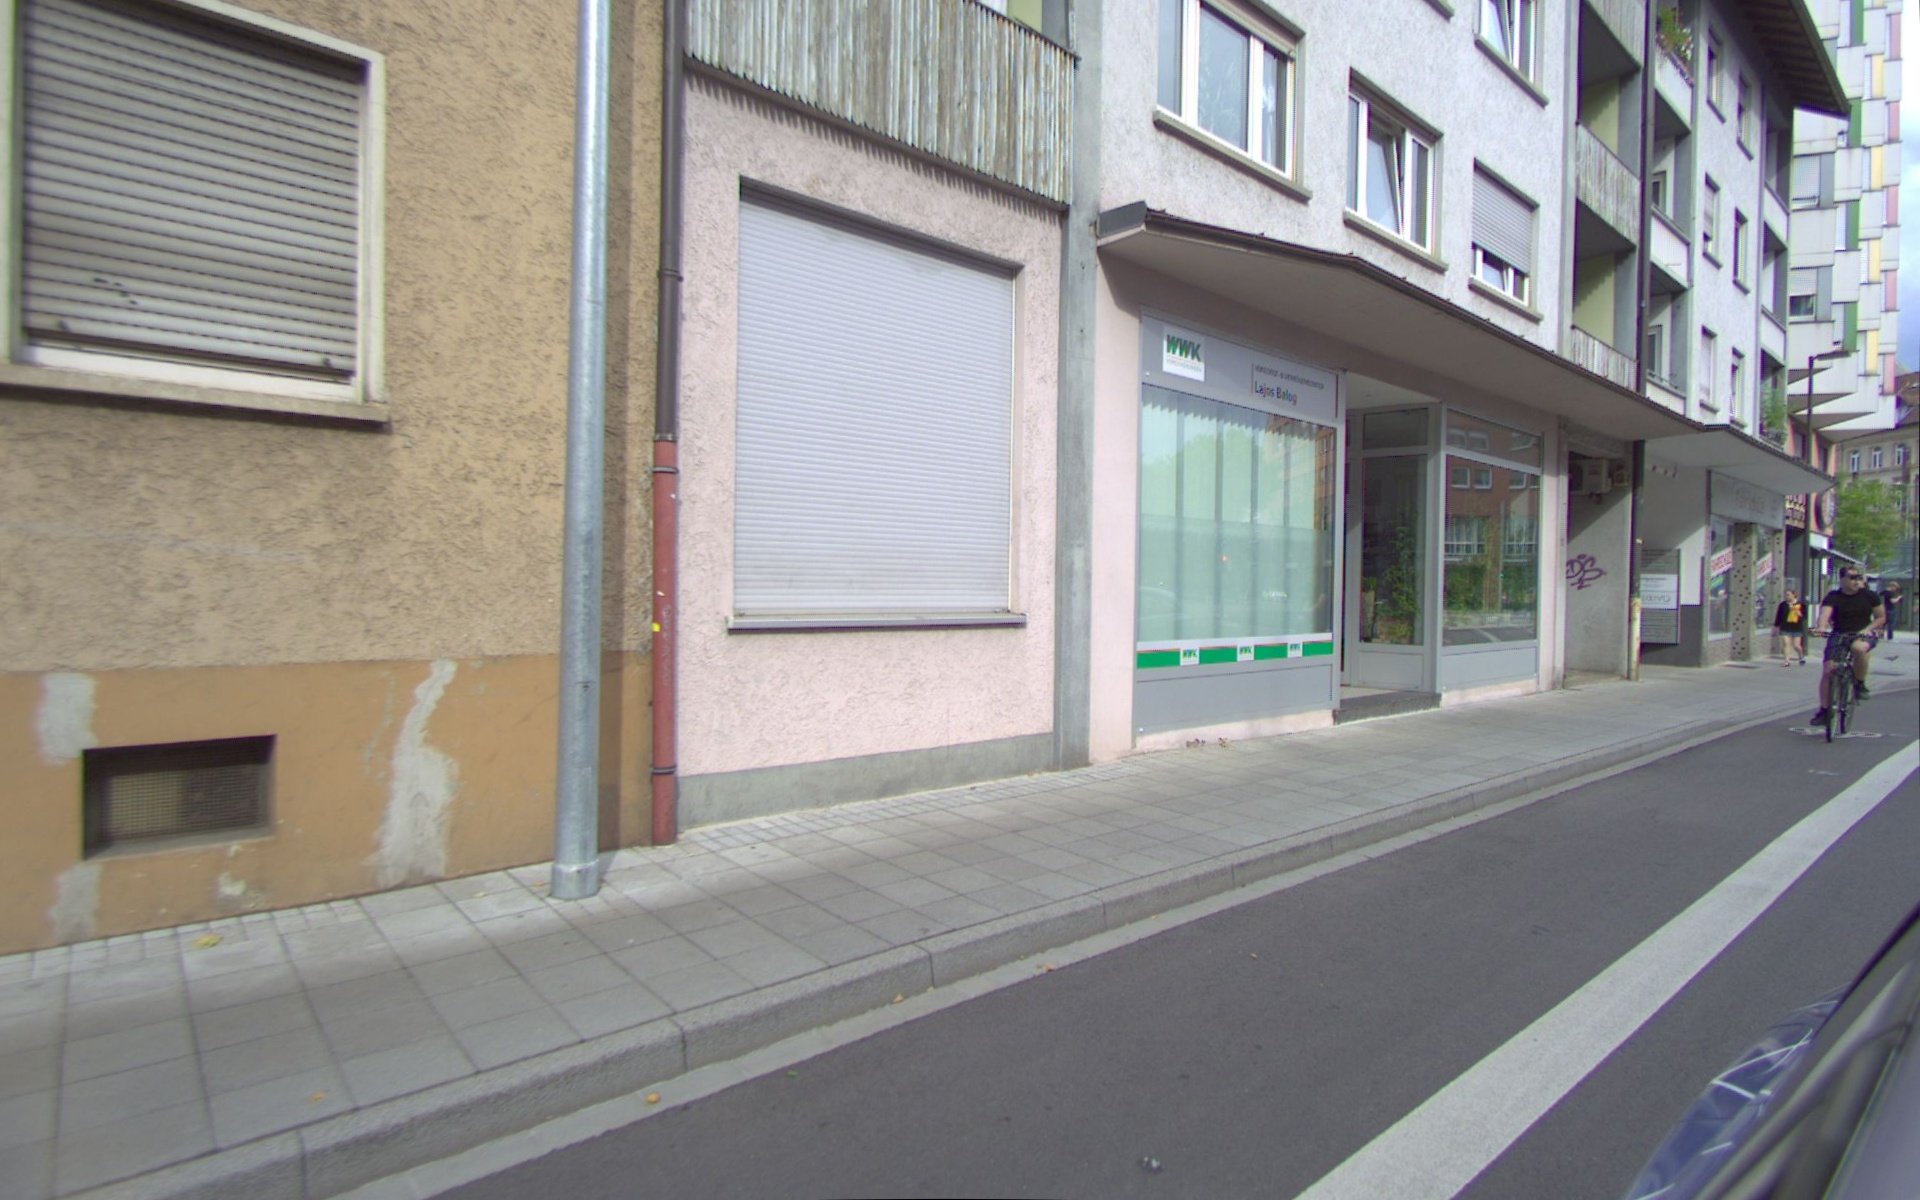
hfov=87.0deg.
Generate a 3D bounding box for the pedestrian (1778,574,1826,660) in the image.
[{"bbox_3d":[17.088,0.326,20.535,0.928,1.689,0.605,0,1,-43],"label":"pedestrian"}]

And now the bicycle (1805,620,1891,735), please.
[{"bbox_3d":[9.529,0.794,10.840,1.981,1.136,0.406,2,-1,-40],"label":"bicycle"}]

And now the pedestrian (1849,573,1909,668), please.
[{"bbox_3d":[17.788,0.374,19.591,0.844,1.772,0.752,0,1,-42],"label":"pedestrian"}]

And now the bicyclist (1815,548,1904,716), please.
[{"bbox_3d":[9.695,0.322,10.905,0.847,1.731,0.560,0,1,-39],"label":"bicyclist"}]

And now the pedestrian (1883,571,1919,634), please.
[{"bbox_3d":[29.726,0.078,31.970,0.579,1.926,0.674,1,3,-40],"label":"pedestrian"}]
